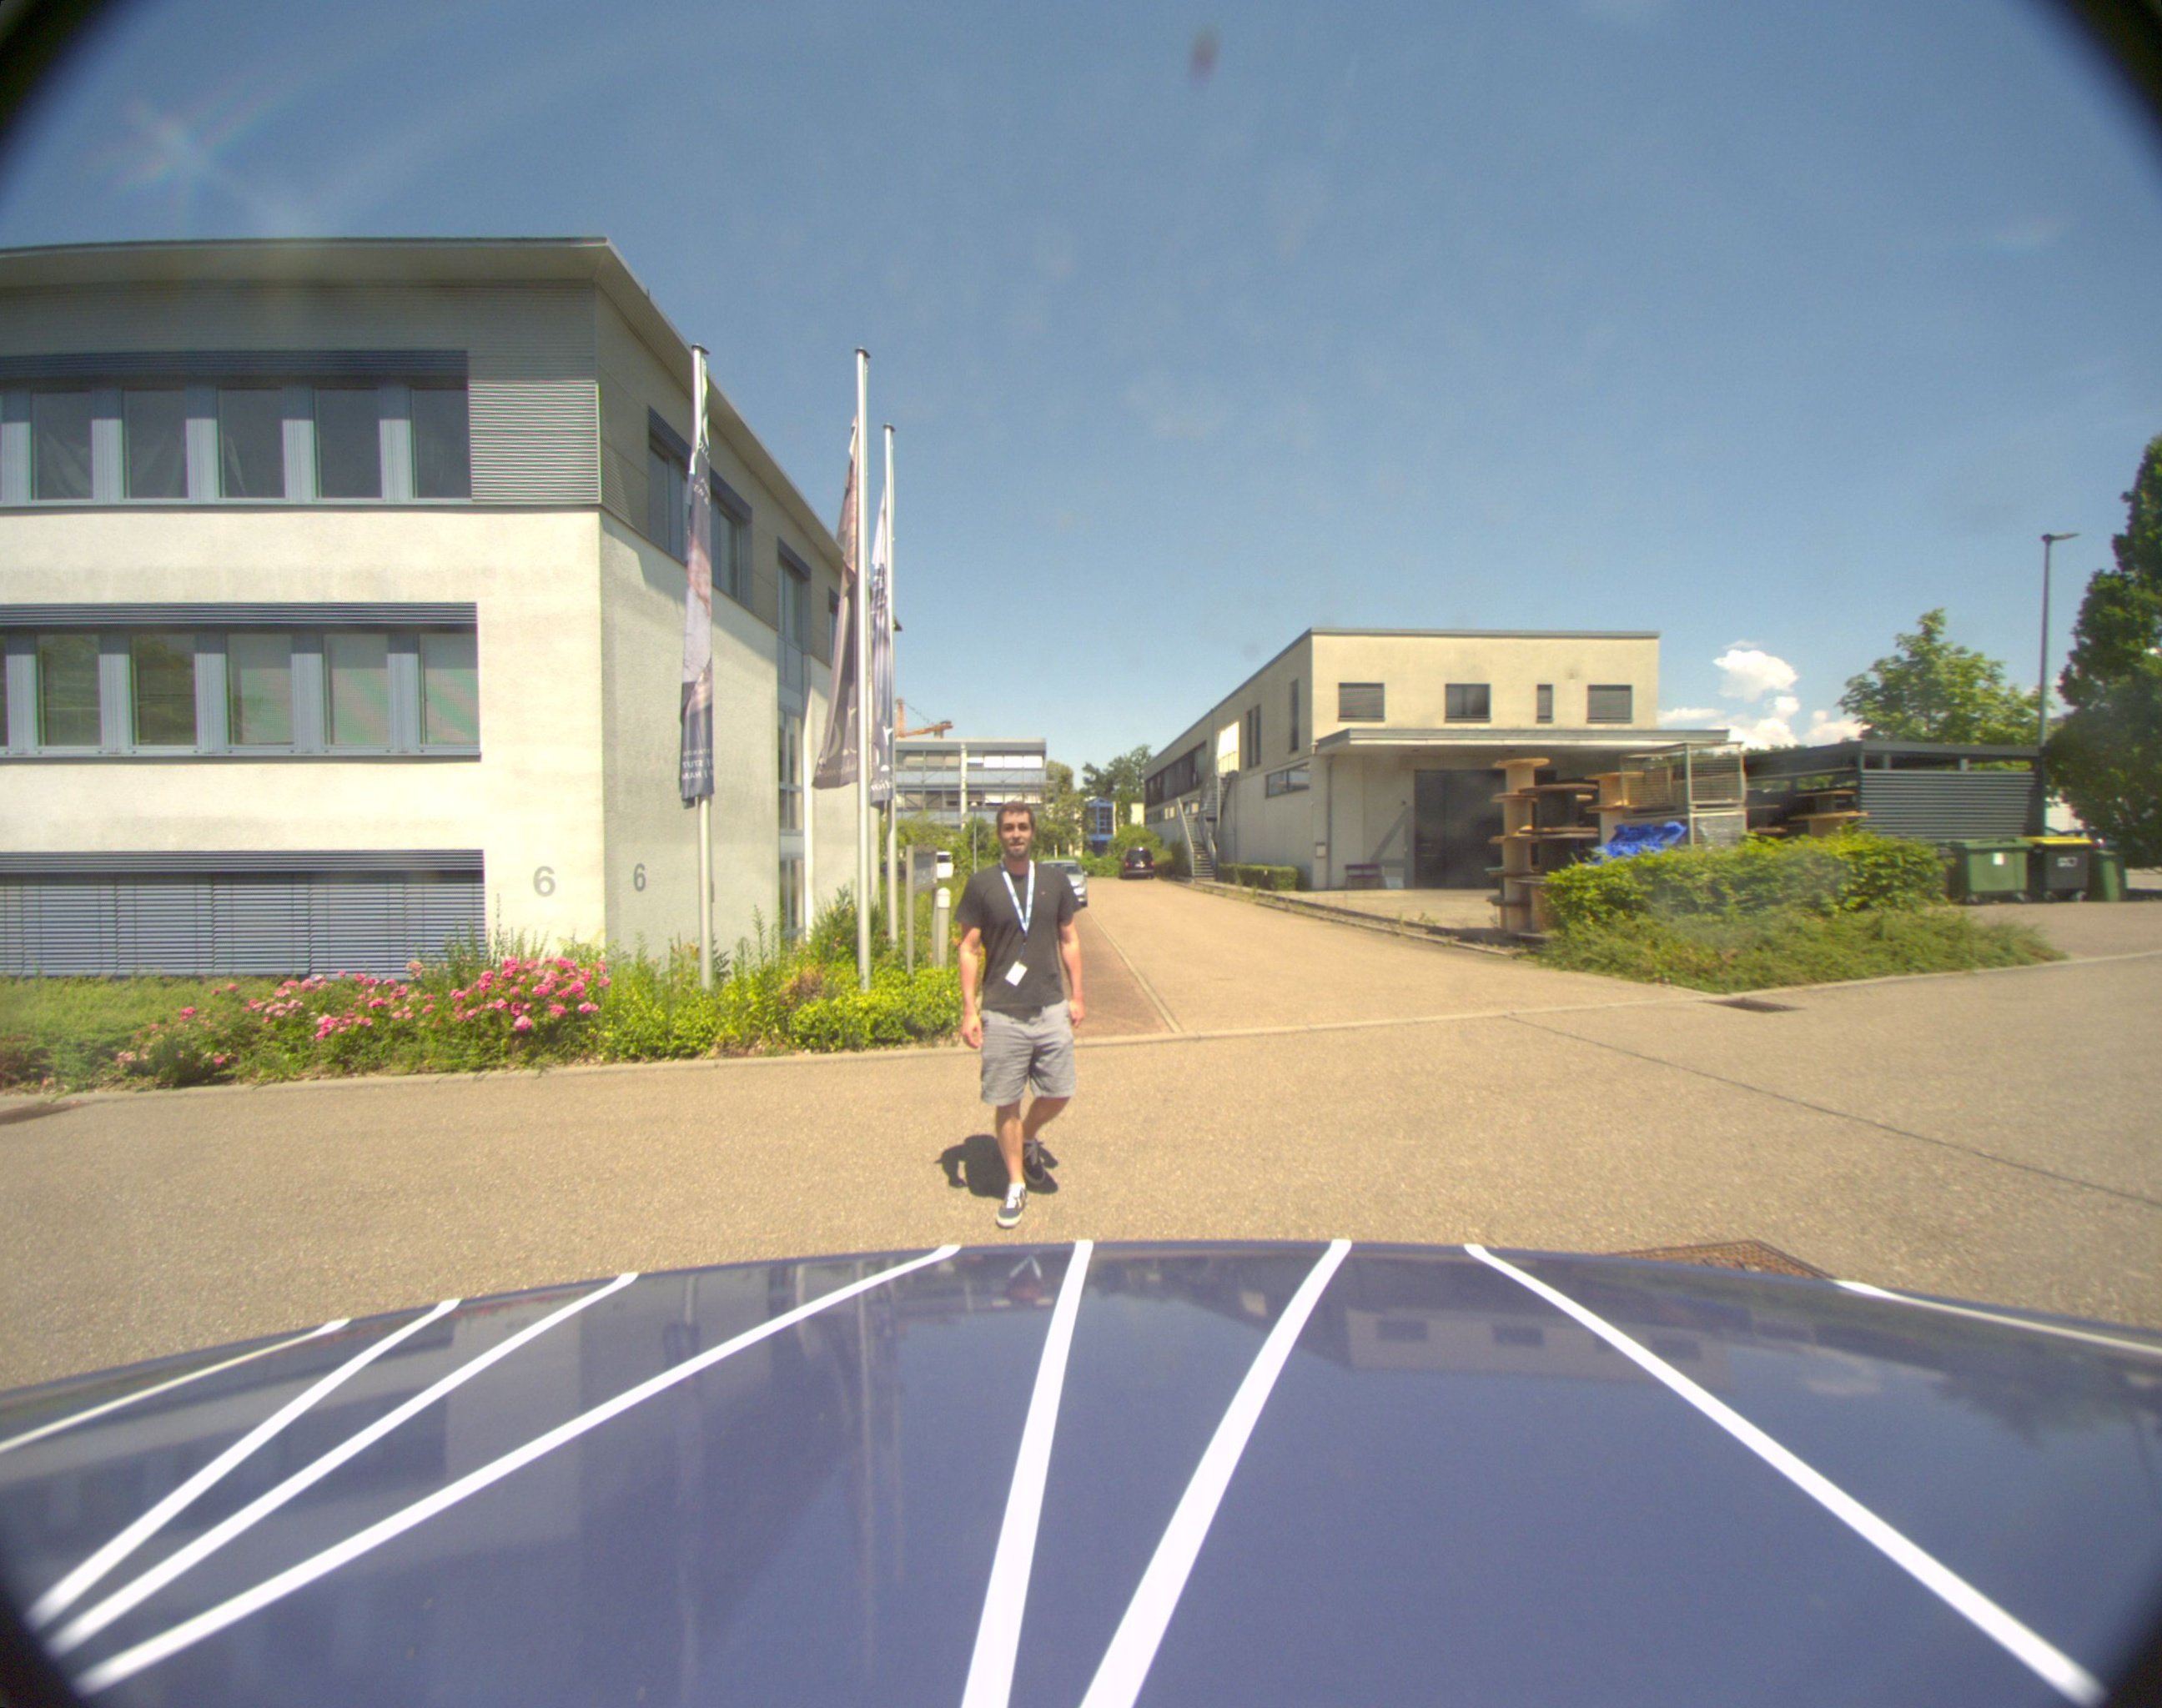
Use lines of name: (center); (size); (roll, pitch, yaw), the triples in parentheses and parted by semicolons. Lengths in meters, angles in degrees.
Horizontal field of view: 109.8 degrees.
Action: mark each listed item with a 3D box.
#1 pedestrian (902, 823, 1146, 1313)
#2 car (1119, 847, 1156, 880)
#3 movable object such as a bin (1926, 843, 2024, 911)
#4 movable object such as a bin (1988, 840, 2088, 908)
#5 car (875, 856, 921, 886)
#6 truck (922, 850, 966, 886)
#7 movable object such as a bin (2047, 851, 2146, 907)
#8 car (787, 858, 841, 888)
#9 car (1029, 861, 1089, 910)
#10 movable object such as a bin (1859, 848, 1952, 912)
pedestrian: (-0.299, 0.790, 3.364); (0.861, 1.809, 0.903); (-2, 1, -17)
car: (3.311, 0.541, 44.872); (1.787, 1.793, 3.999); (-1, 1, -1)
movable object such as a bin: (18.116, 0.459, 15.414); (1.072, 1.329, 0.760); (-1, 1, 2)
movable object such as a bin: (19.466, 0.400, 15.479); (1.072, 1.329, 0.760); (-1, 1, 2)
car: (-10.551, 0.939, 44.005); (1.788, 1.537, 3.998); (-1, 1, -2)
truck: (-7.784, 0.757, 43.460); (1.999, 1.882, 3.998); (-1, 1, -4)
movable object such as a bin: (20.574, 0.499, 15.413); (0.987, 1.078, 0.760); (-1, 1, 2)
car: (-15.321, 1.057, 43.841); (1.788, 1.537, 3.998); (-1, 1, -2)
car: (-0.619, 0.940, 24.137); (1.711, 1.383, 3.811); (0, 1, 1)
movable object such as a bin: (16.867, 0.519, 15.563); (1.072, 1.264, 0.760); (-1, 1, 2)
